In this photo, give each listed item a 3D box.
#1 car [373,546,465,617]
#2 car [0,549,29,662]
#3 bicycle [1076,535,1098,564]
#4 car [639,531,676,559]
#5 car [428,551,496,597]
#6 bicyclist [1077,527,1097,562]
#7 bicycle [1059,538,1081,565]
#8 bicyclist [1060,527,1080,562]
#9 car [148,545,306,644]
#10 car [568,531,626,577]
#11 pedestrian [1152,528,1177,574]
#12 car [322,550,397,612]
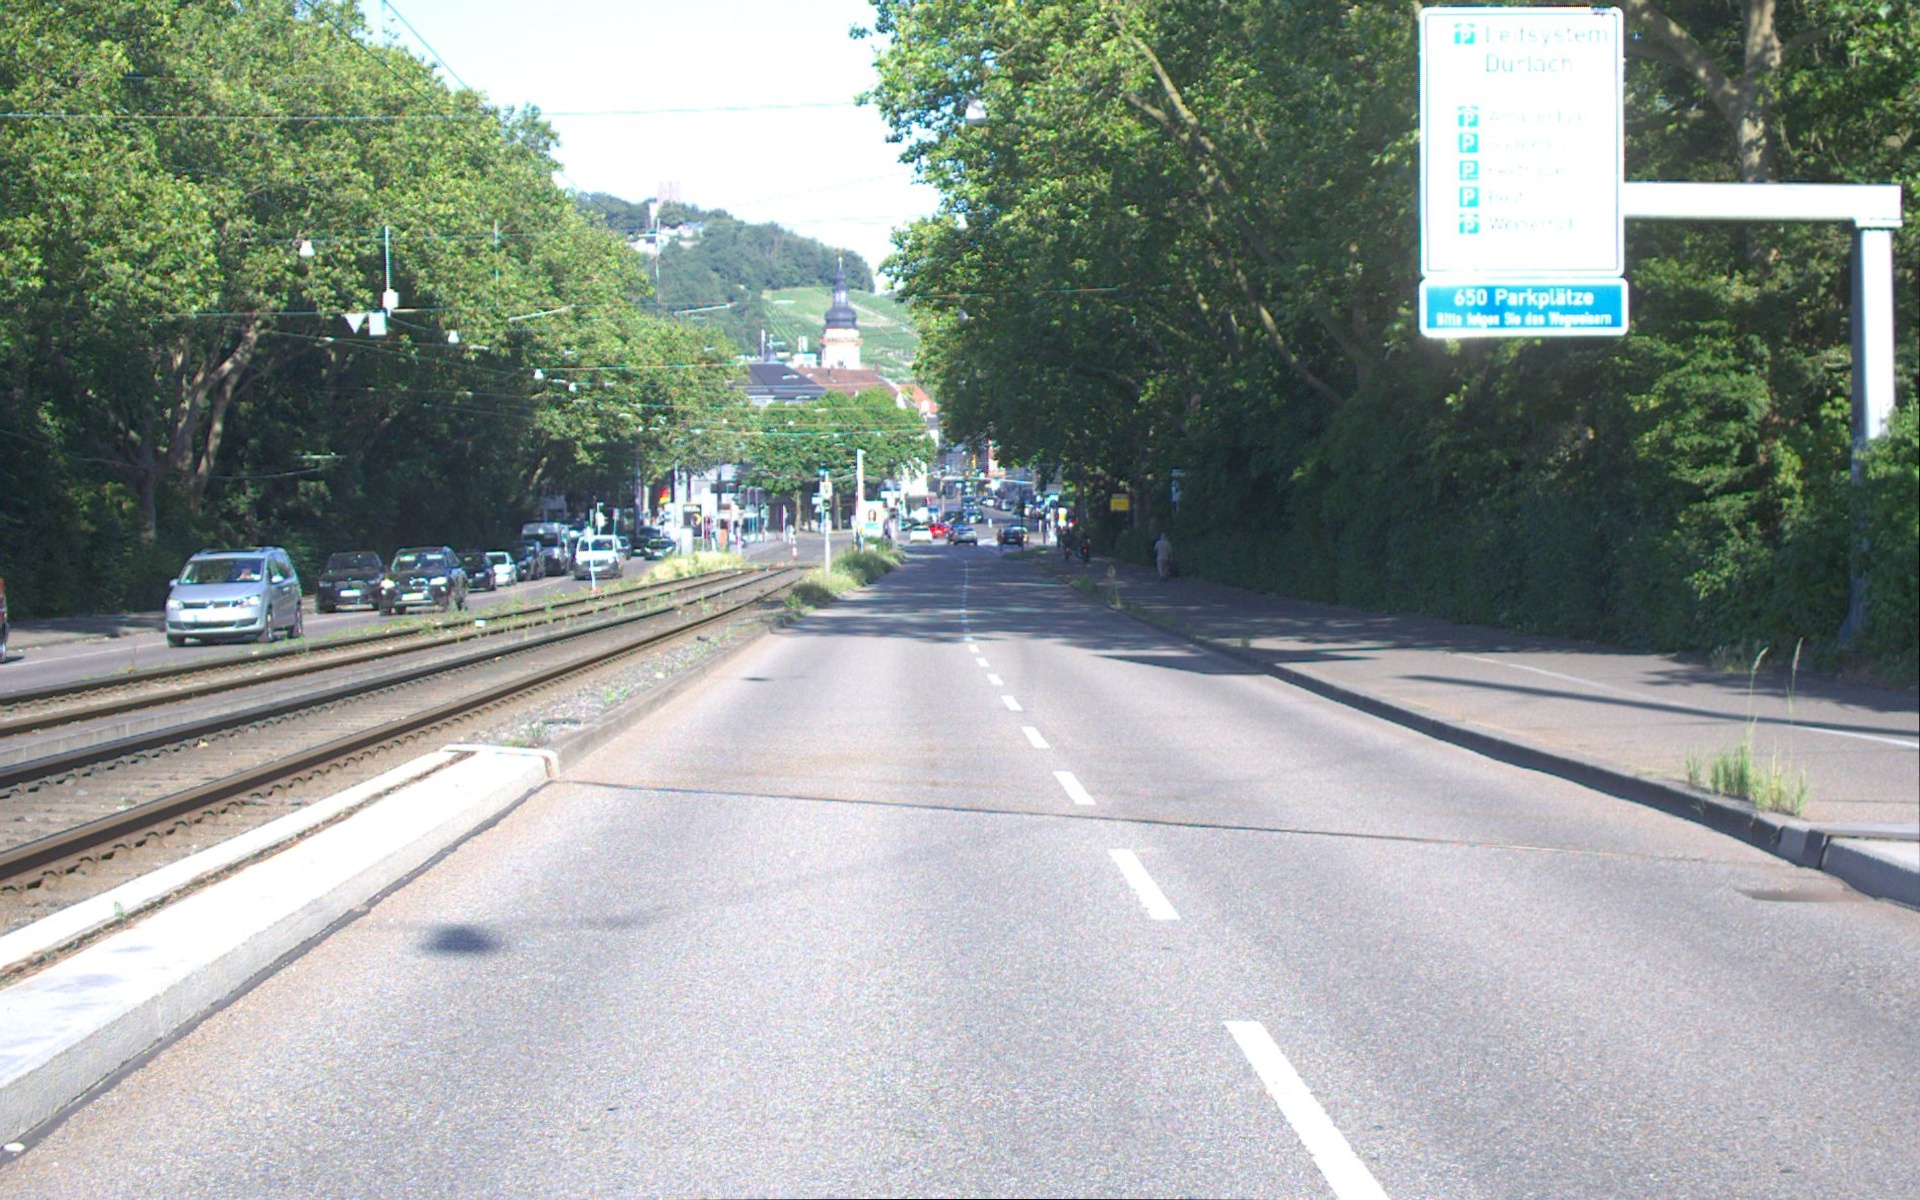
[{"bbox_3d":[-13.674,-0.499,87.059,1.741,1.618,4.395,-3,2,-3],"label":"car"},{"bbox_3d":[-15.914,0.115,53.326,1.741,1.748,4.685,-1,1,-1],"label":"car"},{"bbox_3d":[5.957,-2.355,161.029,0.887,1.316,2.640,-1,1,0],"label":"bicycle"},{"bbox_3d":[-18.790,-3.414,213.797,1.993,1.691,4.745,-1,1,-2],"label":"car"},{"bbox_3d":[-18.748,-0.995,129.494,1.993,1.691,4.745,-1,1,-2],"label":"car"},{"bbox_3d":[5.960,-2.602,161.123,0.887,1.633,1.164,-1,1,0],"label":"bicyclist"},{"bbox_3d":[5.621,-2.479,175.592,0.887,1.316,2.640,-1,1,-2],"label":"bicycle"},{"bbox_3d":[5.617,-2.840,175.750,0.887,1.768,1.222,-1,1,-2],"label":"bicyclist"},{"bbox_3d":[-13.148,-0.136,61.916,1.873,1.659,4.597,1,1,0],"label":"car"},{"bbox_3d":[-15.733,-1.998,149.213,1.993,1.838,5.302,-3,1,-2],"label":"car"},{"bbox_3d":[6.784,-1.629,114.309,0.804,1.540,0.814,-1,1,3],"label":"pedestrian"},{"bbox_3d":[-16.851,-0.550,96.633,1.741,1.631,4.001,-2,1,-5],"label":"car"}]
